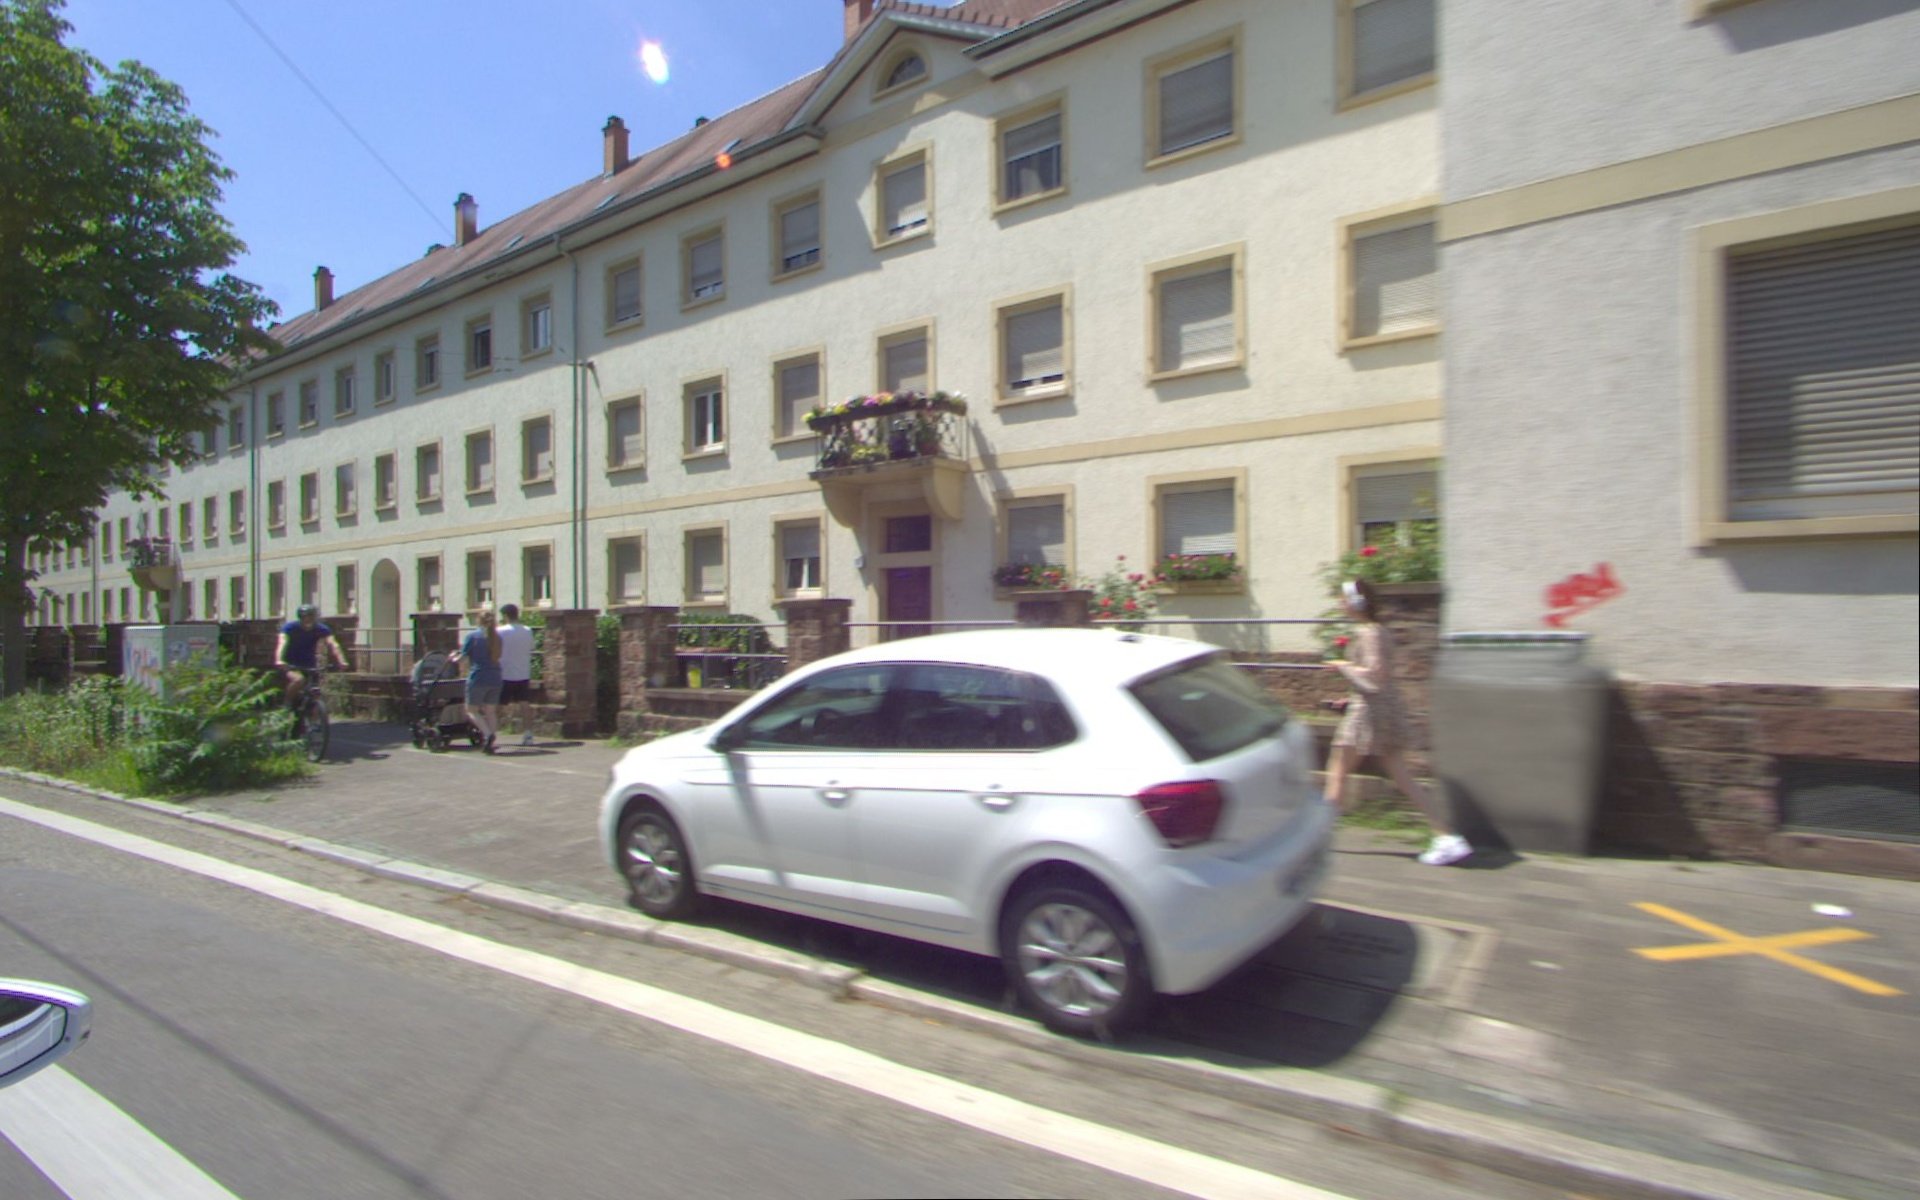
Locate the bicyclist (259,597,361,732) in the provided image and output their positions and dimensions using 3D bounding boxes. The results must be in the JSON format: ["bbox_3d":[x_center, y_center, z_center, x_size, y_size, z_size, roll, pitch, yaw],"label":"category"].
[{"bbox_3d":[-7.476,0.721,11.518,0.998,1.470,0.708,-1,-1,39],"label":"bicyclist"}]

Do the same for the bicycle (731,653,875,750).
[{"bbox_3d":[-1.930,1.197,12.200,1.837,1.077,0.526,-1,-1,32],"label":"bicycle"}]

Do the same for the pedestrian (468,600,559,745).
[{"bbox_3d":[-5.466,0.861,12.264,0.746,1.692,0.695,-1,1,36],"label":"pedestrian"}]

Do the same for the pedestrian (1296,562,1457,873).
[{"bbox_3d":[2.477,0.654,5.944,0.746,1.691,0.695,-1,-1,35],"label":"pedestrian"}]

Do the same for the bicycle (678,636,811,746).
[{"bbox_3d":[-2.540,1.019,11.688,1.733,1.190,0.594,-1,-1,40],"label":"bicycle"}]

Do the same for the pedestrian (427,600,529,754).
[{"bbox_3d":[-5.579,0.860,11.603,0.857,1.692,0.695,-1,1,36],"label":"pedestrian"}]

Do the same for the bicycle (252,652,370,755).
[{"bbox_3d":[-7.475,1.147,11.503,1.800,1.064,0.600,-1,-2,39],"label":"bicycle"}]

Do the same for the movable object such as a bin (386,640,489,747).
[{"bbox_3d":[-6.345,1.105,12.159,1.023,1.202,0.695,-1,1,36],"label":"movable object such as a bin"}]

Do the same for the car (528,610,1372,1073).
[{"bbox_3d":[-0.236,0.847,5.205,4.101,1.430,1.771,-1,2,36],"label":"car"}]

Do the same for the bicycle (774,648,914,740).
[{"bbox_3d":[-1.507,1.179,12.902,1.815,1.077,0.596,-1,-1,31],"label":"bicycle"}]
